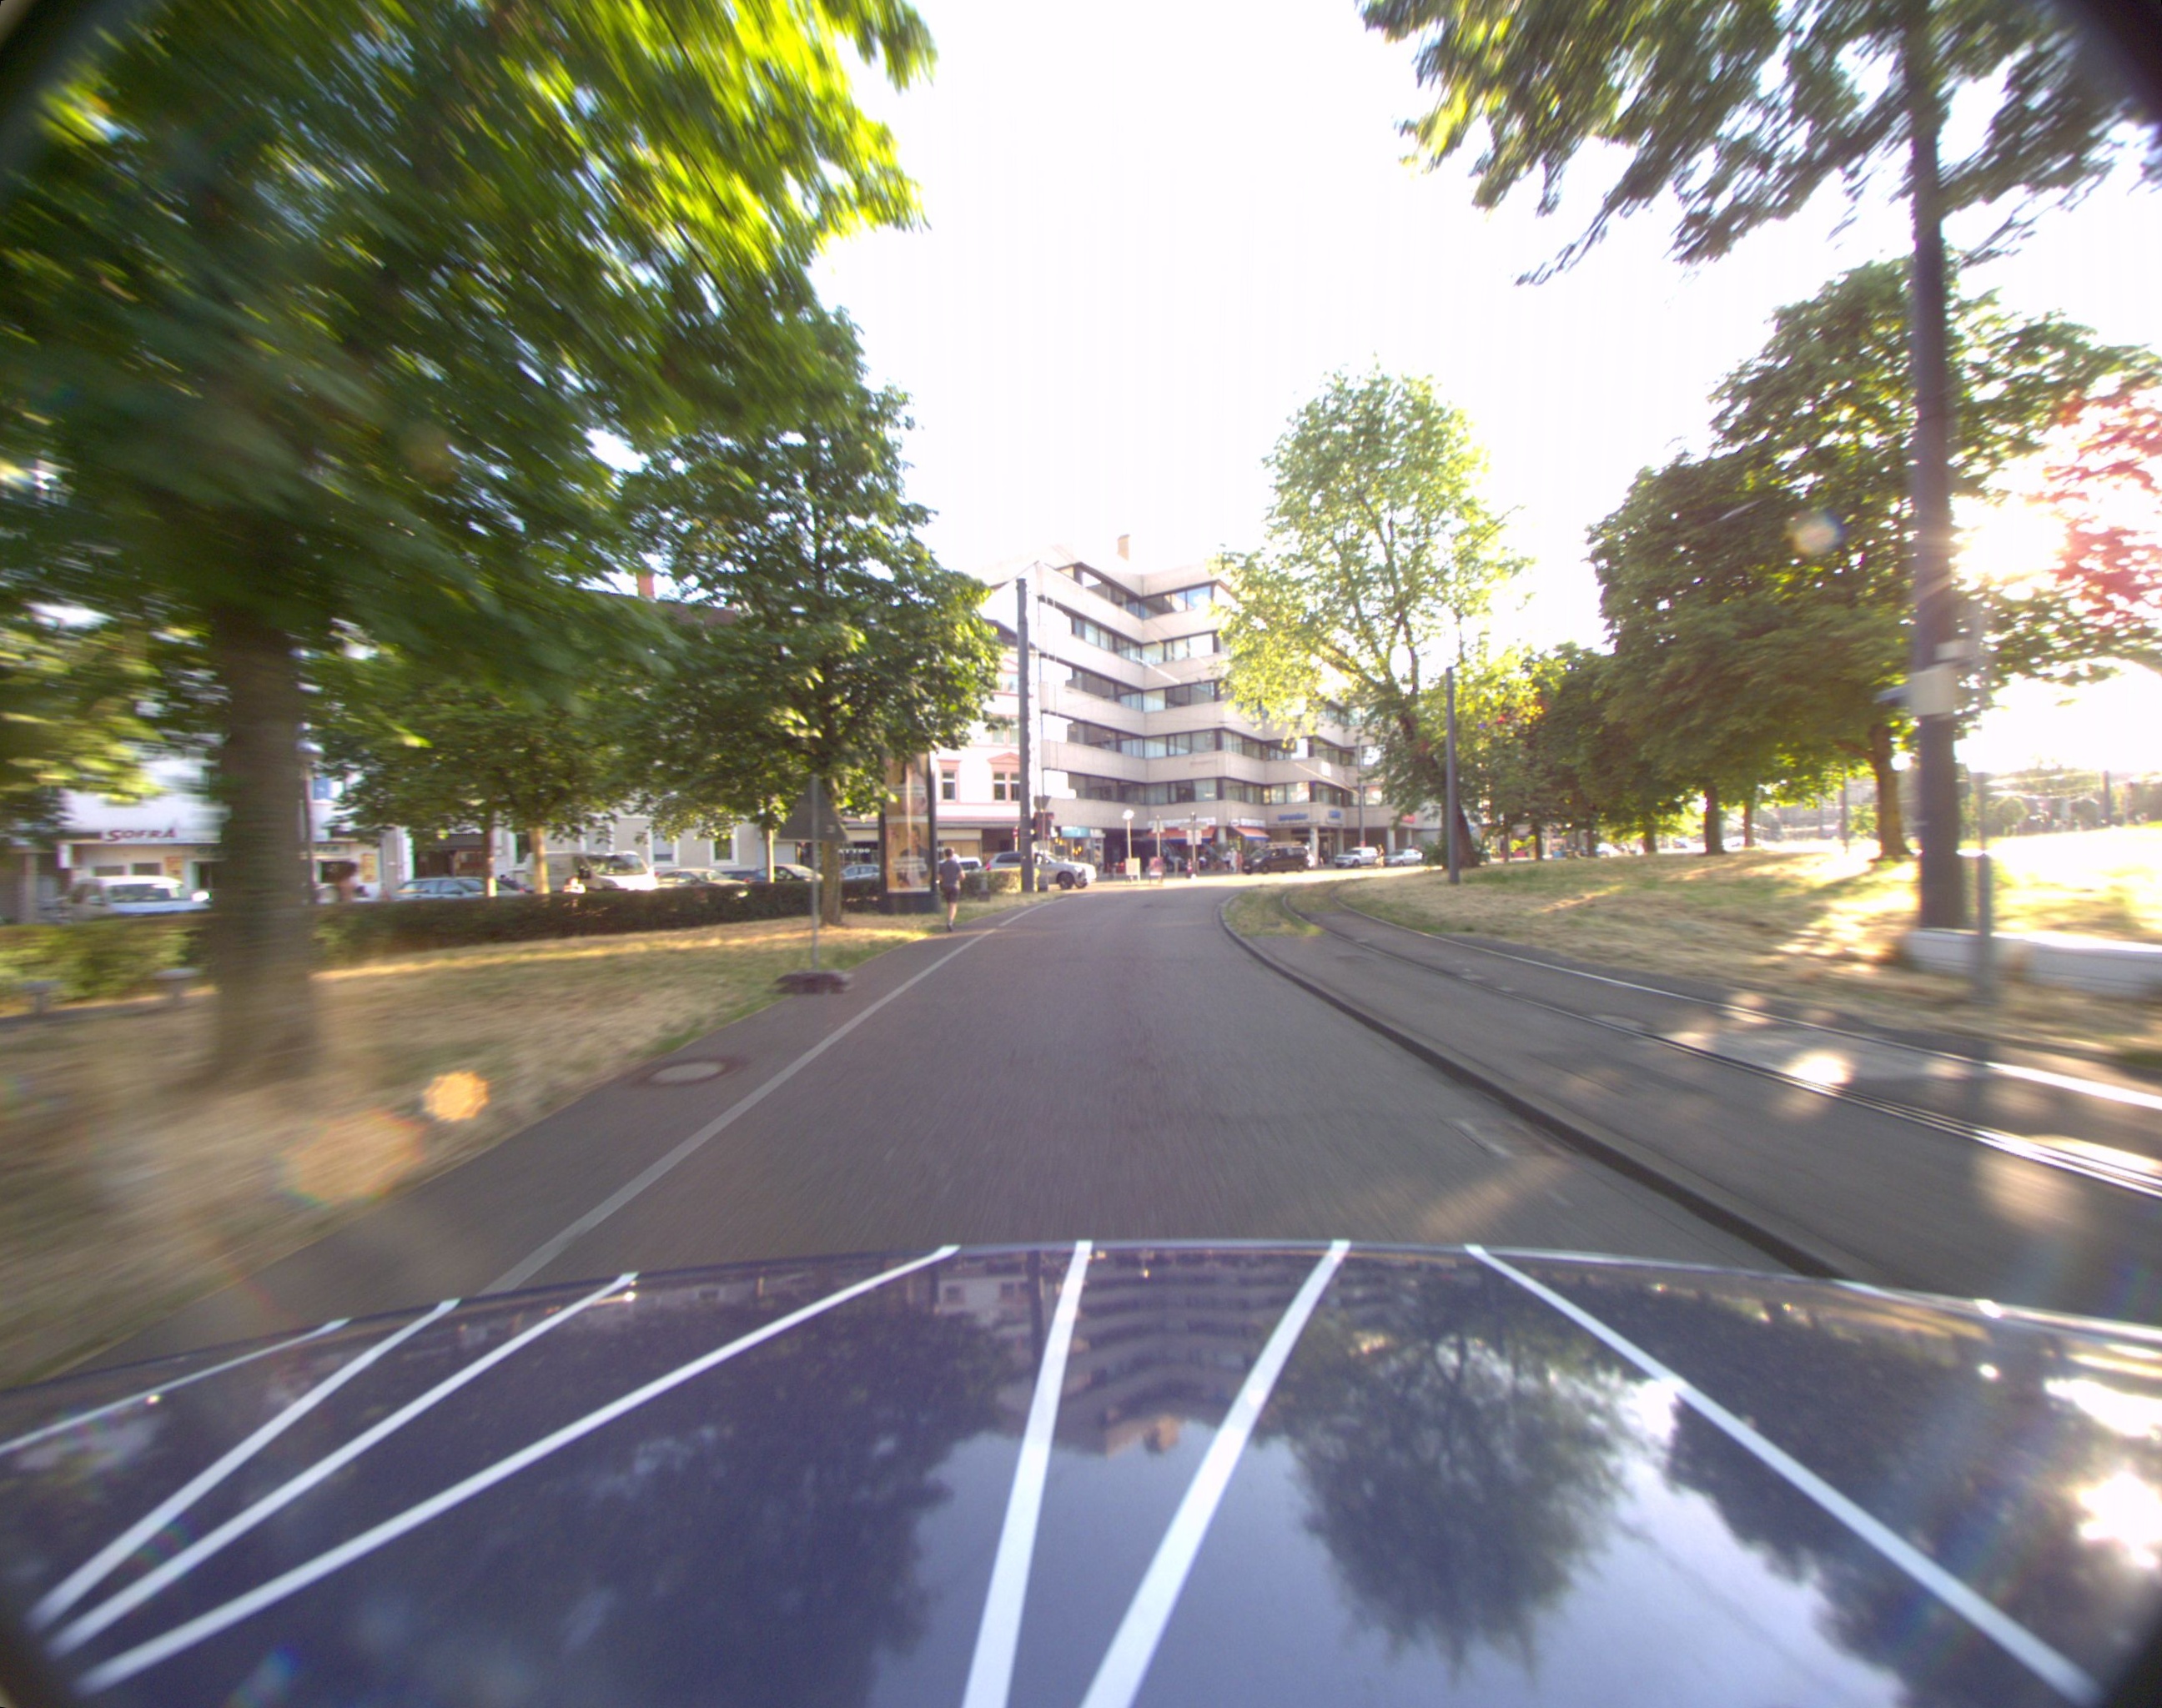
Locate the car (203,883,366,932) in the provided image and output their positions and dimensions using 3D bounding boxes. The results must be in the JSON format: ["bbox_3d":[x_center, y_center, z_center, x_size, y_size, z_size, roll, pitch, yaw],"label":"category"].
[{"bbox_3d":[-31.201,2.046,29.952,4.006,1.488,1.947,-2,3,-31],"label":"car"}]

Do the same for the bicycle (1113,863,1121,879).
[{"bbox_3d":[2.364,1.106,50.043,0.302,0.987,1.294,-2,0,-5],"label":"bicycle"}]

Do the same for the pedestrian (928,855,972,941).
[{"bbox_3d":[-2.711,0.886,15.715,0.587,1.733,0.644,-1,0,26],"label":"pedestrian"}]

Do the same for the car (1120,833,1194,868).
[{"bbox_3d":[6.059,-0.310,60.824,5.419,2.711,2.185,0,1,32],"label":"car"}]

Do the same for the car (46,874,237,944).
[{"bbox_3d":[-25.864,1.510,20.951,3.992,1.696,2.003,-2,0,19],"label":"car"}]

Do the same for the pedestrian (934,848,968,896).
[{"bbox_3d":[-4.782,0.639,28.043,0.725,1.720,0.979,-2,0,26],"label":"pedestrian"}]

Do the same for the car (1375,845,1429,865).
[{"bbox_3d":[28.061,0.088,66.408,4.530,1.596,1.996,-2,0,-29],"label":"car"}]

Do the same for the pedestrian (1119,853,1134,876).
[{"bbox_3d":[3.172,0.744,52.703,0.794,1.528,0.568,-2,2,-28],"label":"pedestrian"}]

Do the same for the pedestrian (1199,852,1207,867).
[{"bbox_3d":[9.770,0.449,60.846,0.460,1.188,0.421,4,4,35],"label":"pedestrian"}]

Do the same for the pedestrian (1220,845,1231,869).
[{"bbox_3d":[11.259,0.239,59.206,0.537,1.828,0.619,-1,4,-44],"label":"pedestrian"}]

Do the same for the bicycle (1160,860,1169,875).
[{"bbox_3d":[5.774,0.938,52.640,0.302,0.987,1.294,-2,0,-5],"label":"bicycle"}]

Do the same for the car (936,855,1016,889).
[{"bbox_3d":[-6.257,1.021,45.283,4.236,1.774,1.927,-2,2,-32],"label":"car"}]

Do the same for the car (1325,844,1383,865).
[{"bbox_3d":[22.785,0.038,63.448,4.530,1.596,1.996,-2,0,-29],"label":"car"}]

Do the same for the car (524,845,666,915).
[{"bbox_3d":[-16.928,0.925,26.417,4.868,2.227,2.098,-2,0,31],"label":"car"}]

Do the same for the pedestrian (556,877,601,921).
[{"bbox_3d":[-15.053,1.327,22.803,0.962,1.218,1.368,-2,0,-29],"label":"pedestrian"}]

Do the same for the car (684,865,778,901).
[{"bbox_3d":[-17.551,1.418,38.141,4.006,1.484,1.820,-2,2,-33],"label":"car"}]

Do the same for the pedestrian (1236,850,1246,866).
[{"bbox_3d":[13.169,0.347,62.489,0.610,1.313,0.560,-1,1,26],"label":"pedestrian"}]

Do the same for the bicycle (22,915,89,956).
[{"bbox_3d":[-22.763,1.795,16.888,0.447,0.775,1.272,-2,1,-33],"label":"bicycle"}]

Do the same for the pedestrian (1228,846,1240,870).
[{"bbox_3d":[11.821,0.302,58.741,0.572,1.828,0.605,4,4,36],"label":"pedestrian"}]

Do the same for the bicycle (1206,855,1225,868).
[{"bbox_3d":[10.583,0.608,59.969,1.444,0.987,0.531,0,3,8],"label":"bicycle"}]

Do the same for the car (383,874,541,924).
[{"bbox_3d":[-19.795,1.437,24.345,3.992,1.390,2.002,-2,0,17],"label":"car"}]

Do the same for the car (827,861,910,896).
[{"bbox_3d":[-11.673,1.315,41.778,4.006,1.631,1.994,-2,3,-31],"label":"car"}]

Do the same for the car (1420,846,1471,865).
[{"bbox_3d":[33.525,0.119,69.876,4.530,1.596,1.996,-2,0,-29],"label":"car"}]

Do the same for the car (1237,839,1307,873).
[{"bbox_3d":[13.300,0.118,52.844,4.530,2.143,1.996,-2,0,-29],"label":"car"}]

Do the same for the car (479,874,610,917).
[{"bbox_3d":[-21.714,1.634,30.993,4.168,1.477,1.932,-2,0,-31],"label":"car"}]

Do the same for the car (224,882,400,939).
[{"bbox_3d":[-22.696,1.660,22.477,3.992,1.477,2.002,-2,0,17],"label":"car"}]

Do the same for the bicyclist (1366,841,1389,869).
[{"bbox_3d":[21.156,0.056,54.212,1.115,1.962,0.923,-2,0,-29],"label":"bicyclist"}]

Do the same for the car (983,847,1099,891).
[{"bbox_3d":[-1.788,0.675,34.105,4.700,1.761,2.003,-2,0,20],"label":"car"}]

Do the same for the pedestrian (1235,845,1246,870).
[{"bbox_3d":[12.178,0.273,58.055,0.501,1.828,0.531,-1,4,-44],"label":"pedestrian"}]

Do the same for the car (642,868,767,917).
[{"bbox_3d":[-13.831,1.416,27.898,3.990,1.595,1.955,-2,0,24],"label":"car"}]

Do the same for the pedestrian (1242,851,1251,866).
[{"bbox_3d":[14.050,0.371,64.486,0.610,1.313,0.592,-1,1,26],"label":"pedestrian"}]

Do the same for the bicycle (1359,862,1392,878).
[{"bbox_3d":[21.010,1.123,54.128,2.224,1.070,0.934,-2,0,-29],"label":"bicycle"}]
